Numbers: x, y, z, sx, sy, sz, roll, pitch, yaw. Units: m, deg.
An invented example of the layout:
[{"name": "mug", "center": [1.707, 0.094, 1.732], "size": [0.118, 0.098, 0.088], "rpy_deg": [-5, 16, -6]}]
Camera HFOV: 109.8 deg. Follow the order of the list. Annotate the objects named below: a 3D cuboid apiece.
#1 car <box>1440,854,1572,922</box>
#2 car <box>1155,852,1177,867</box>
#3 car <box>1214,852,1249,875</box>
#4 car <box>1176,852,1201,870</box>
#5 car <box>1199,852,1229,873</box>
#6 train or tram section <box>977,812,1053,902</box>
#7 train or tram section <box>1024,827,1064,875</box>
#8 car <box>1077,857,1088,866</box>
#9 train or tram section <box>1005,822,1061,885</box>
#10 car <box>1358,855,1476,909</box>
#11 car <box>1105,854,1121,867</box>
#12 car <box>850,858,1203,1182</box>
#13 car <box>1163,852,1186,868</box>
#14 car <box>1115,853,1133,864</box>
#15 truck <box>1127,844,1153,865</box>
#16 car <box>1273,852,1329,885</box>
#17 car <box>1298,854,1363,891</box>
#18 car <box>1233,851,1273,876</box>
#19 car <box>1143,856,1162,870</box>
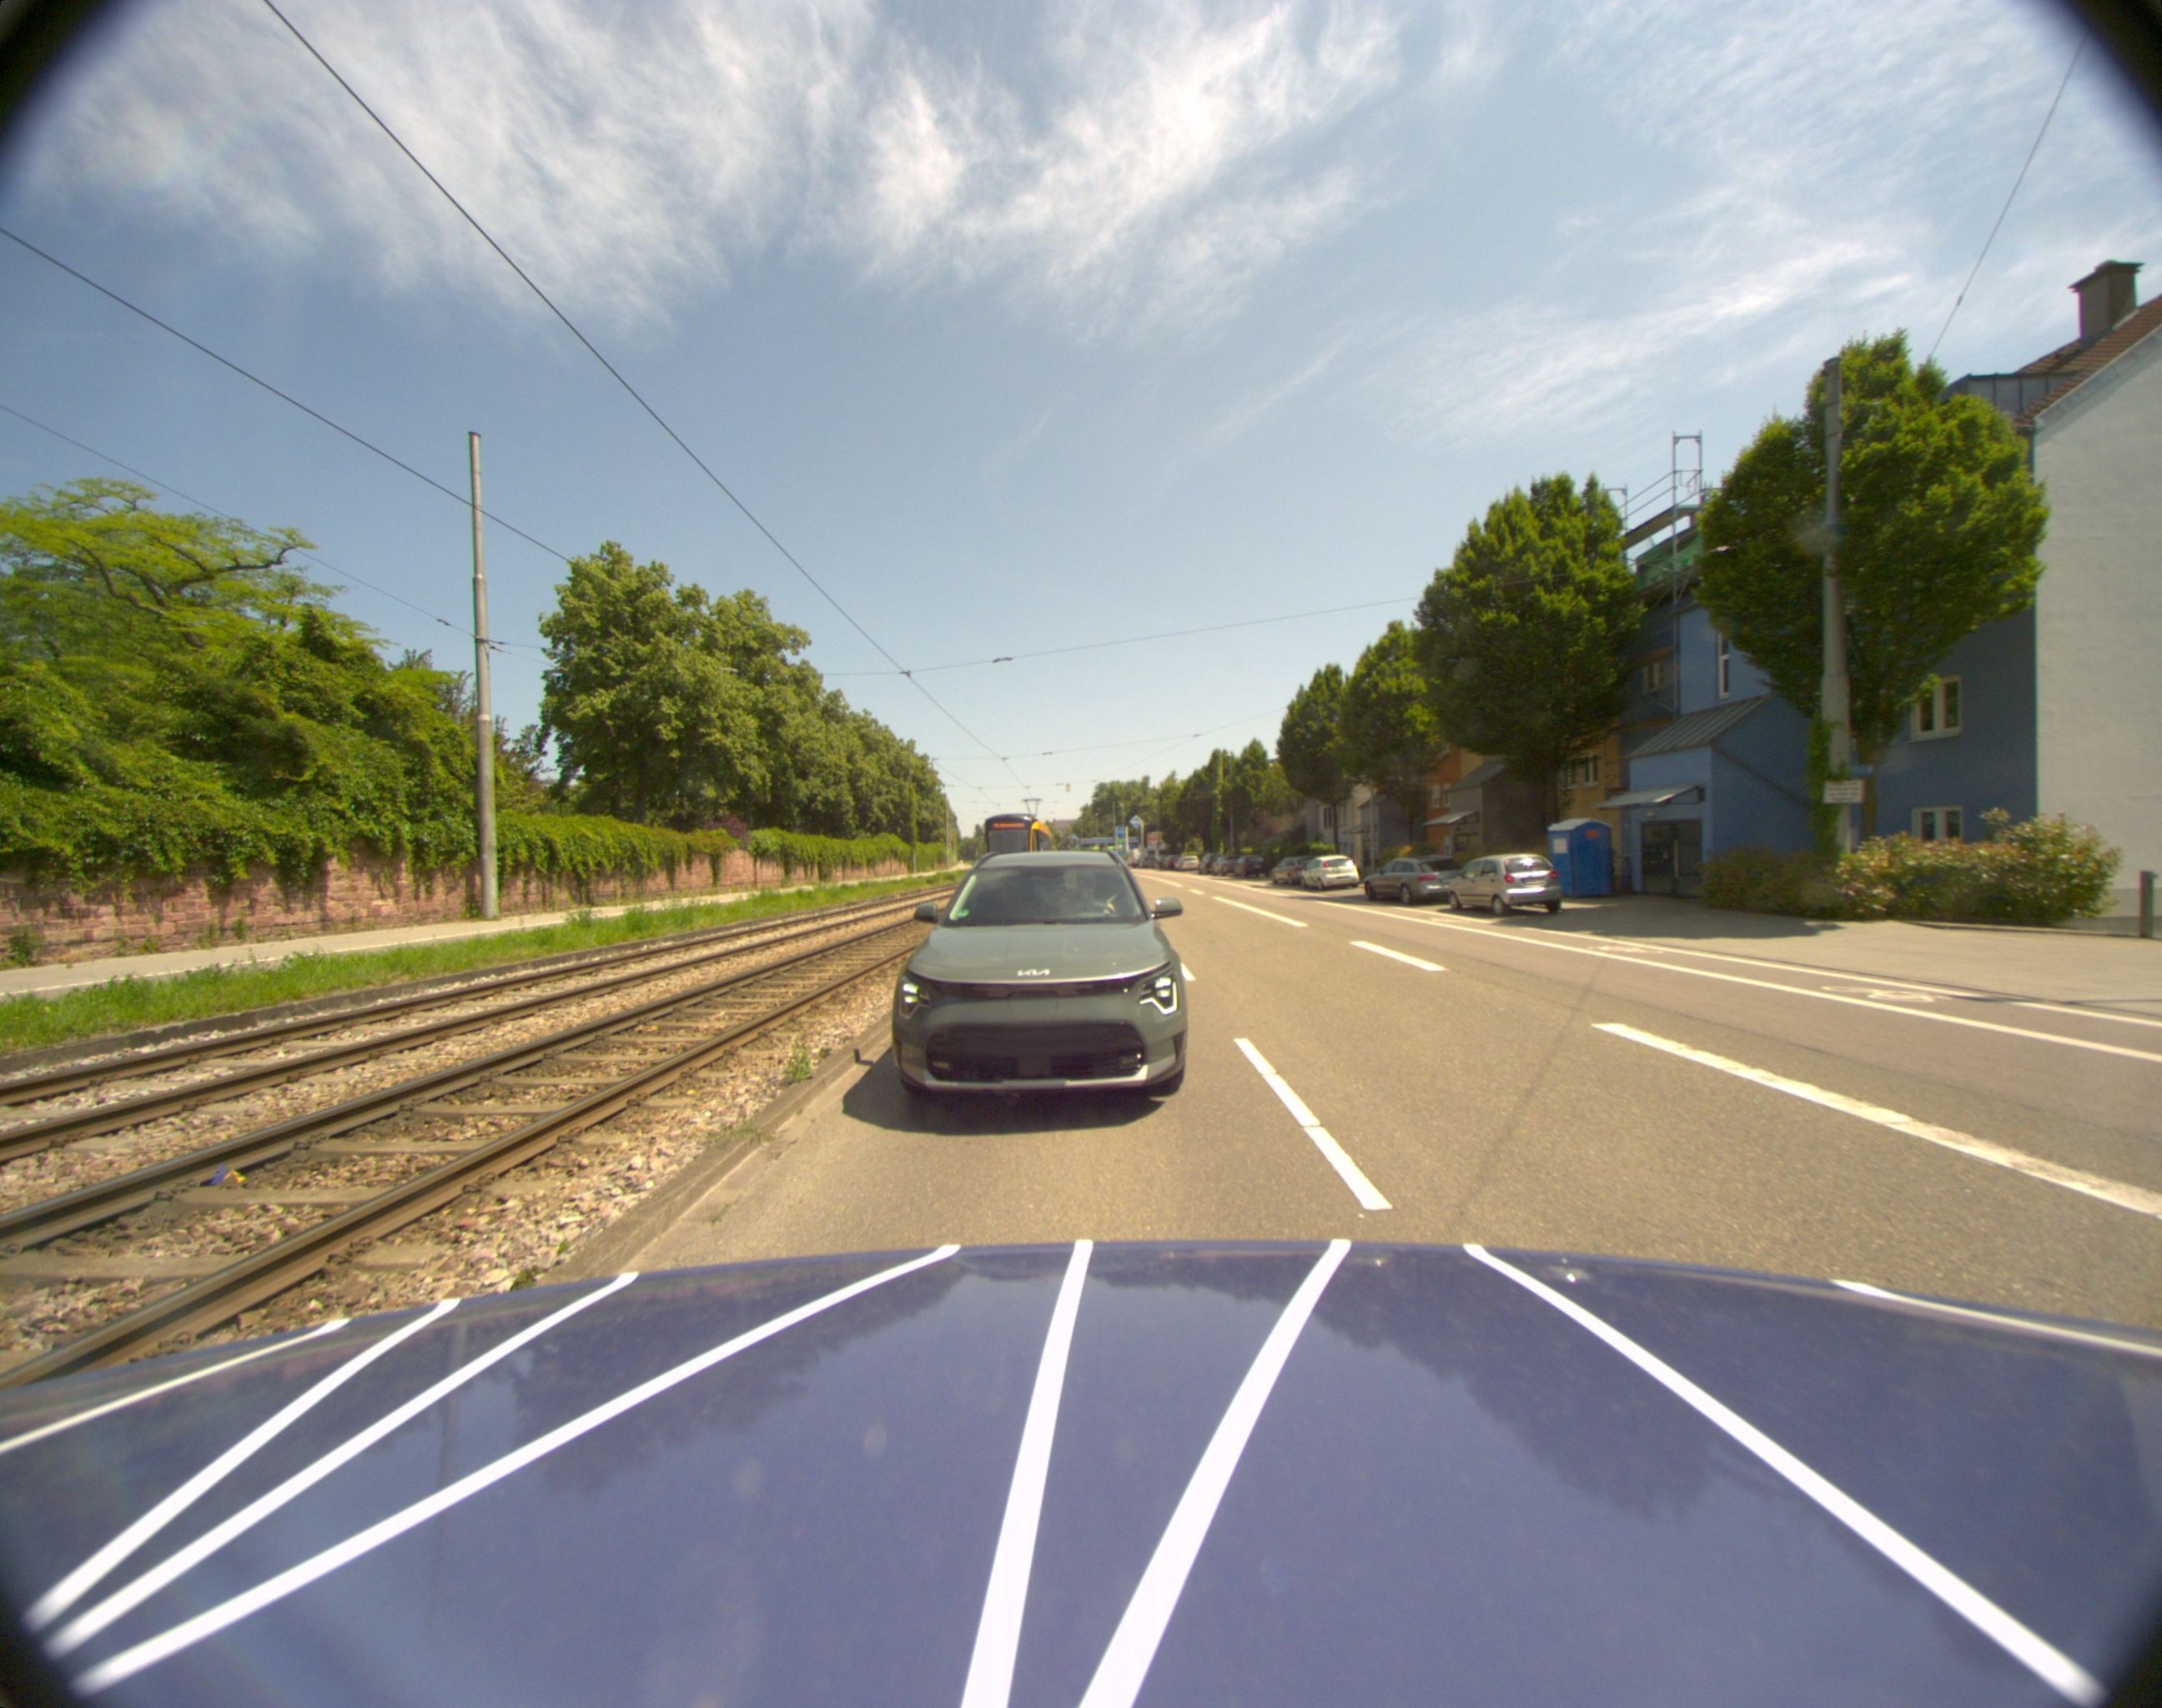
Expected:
[{"name": "car", "center": [10.974, 0.811, 19.876], "size": [1.505, 1.487, 3.282], "rpy_deg": [-5, 0, 0]}, {"name": "car", "center": [9.455, 0.617, 84.669], "size": [1.865, 1.487, 3.470], "rpy_deg": [-5, 0, 0]}, {"name": "car", "center": [11.160, 0.671, 56.458], "size": [1.656, 1.487, 4.082], "rpy_deg": [-5, 0, 0]}, {"name": "car", "center": [10.394, 0.666, 74.024], "size": [1.723, 1.487, 4.082], "rpy_deg": [-5, 0, 0]}, {"name": "car", "center": [10.917, 0.666, 62.706], "size": [1.656, 1.578, 4.082], "rpy_deg": [-5, 0, 0]}, {"name": "train or tram section", "center": [-3.111, 0.059, 39.878], "size": [2.813, 3.785, 14.258], "rpy_deg": [-2, 1, -1]}, {"name": "train or tram section", "center": [-3.158, -0.334, 68.382], "size": [2.783, 3.786, 14.259], "rpy_deg": [-2, 1, 0]}, {"name": "car", "center": [0.197, 1.300, 134.295], "size": [1.865, 1.487, 3.470], "rpy_deg": [-1, 0, -1]}, {"name": "train or tram section", "center": [-3.131, -0.137, 54.122], "size": [2.783, 3.789, 14.260], "rpy_deg": [-2, 1, 1]}, {"name": "car", "center": [10.887, 0.835, 25.022], "size": [1.680, 1.487, 4.638], "rpy_deg": [-5, 0, 0]}, {"name": "car", "center": [4.338, 0.883, 104.207], "size": [1.865, 1.487, 3.470], "rpy_deg": [-5, 0, 0]}, {"name": "car", "center": [-0.251, 0.870, 6.125], "size": [1.759, 1.574, 4.427], "rpy_deg": [-2, 0, 1]}, {"name": "car", "center": [9.842, 0.600, 79.896], "size": [1.865, 1.487, 3.470], "rpy_deg": [-5, 0, 0]}, {"name": "car", "center": [6.332, 0.646, 111.542], "size": [1.866, 1.487, 3.468], "rpy_deg": [-5, 0, -8]}, {"name": "truck", "center": [7.706, 0.125, 99.903], "size": [2.135, 2.565, 4.861], "rpy_deg": [-5, 0, -8]}, {"name": "car", "center": [11.534, 0.721, 40.108], "size": [1.656, 1.487, 4.082], "rpy_deg": [-5, 0, 0]}, {"name": "car", "center": [11.389, 0.817, 34.908], "size": [1.656, 1.487, 3.649], "rpy_deg": [-5, 0, 0]}, {"name": "car", "center": [11.629, 0.631, 51.699], "size": [1.656, 1.487, 4.082], "rpy_deg": [-5, 0, 0]}, {"name": "car", "center": [8.824, 1.105, 93.813], "size": [1.865, 1.487, 3.470], "rpy_deg": [-5, 0, 0]}]
